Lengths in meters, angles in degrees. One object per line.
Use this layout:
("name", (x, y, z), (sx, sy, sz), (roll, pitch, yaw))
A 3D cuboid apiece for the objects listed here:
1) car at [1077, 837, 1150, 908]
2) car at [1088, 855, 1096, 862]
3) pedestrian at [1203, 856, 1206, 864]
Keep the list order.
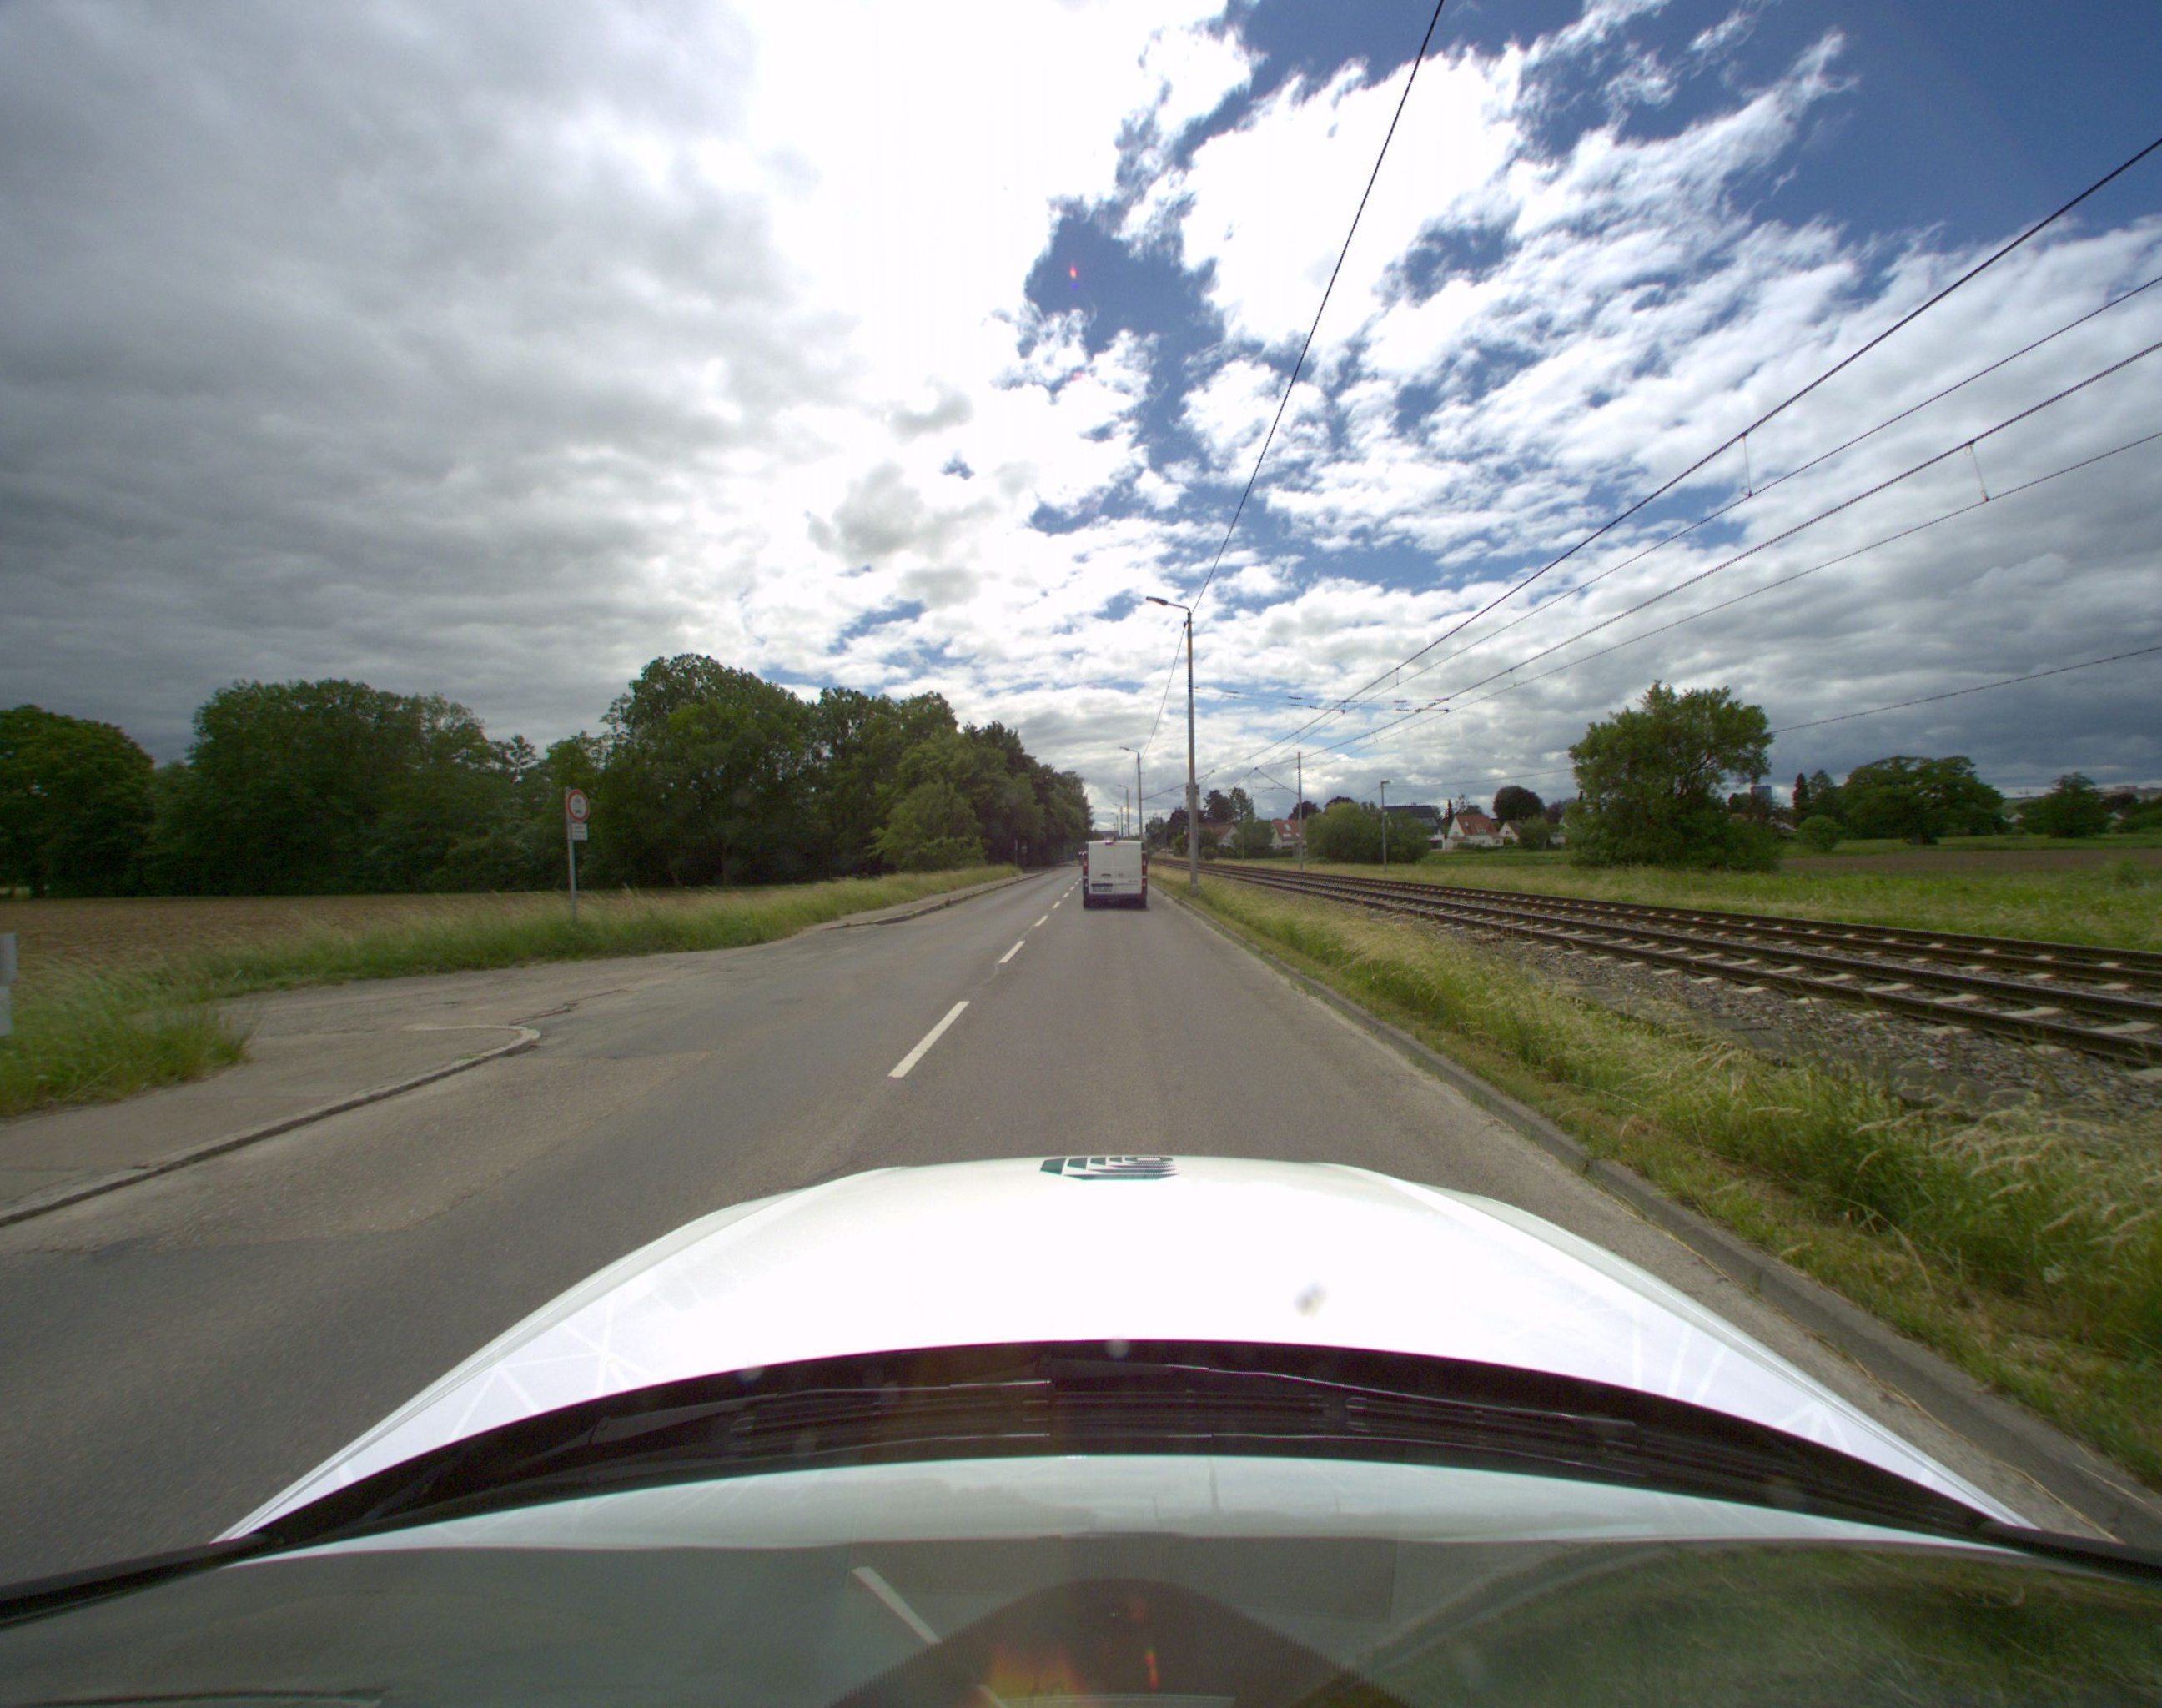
("car", (0.930, 0.544, 24.671), (1.987, 1.957, 4.000), (-1, -1, 0))
("car", (2.816, 1.022, 206.011), (1.986, 1.717, 4.125), (-1, 0, 1))
("pedestrian", (24.035, 1.100, 158.837), (0.524, 1.506, 0.657), (-1, -1, 1))
